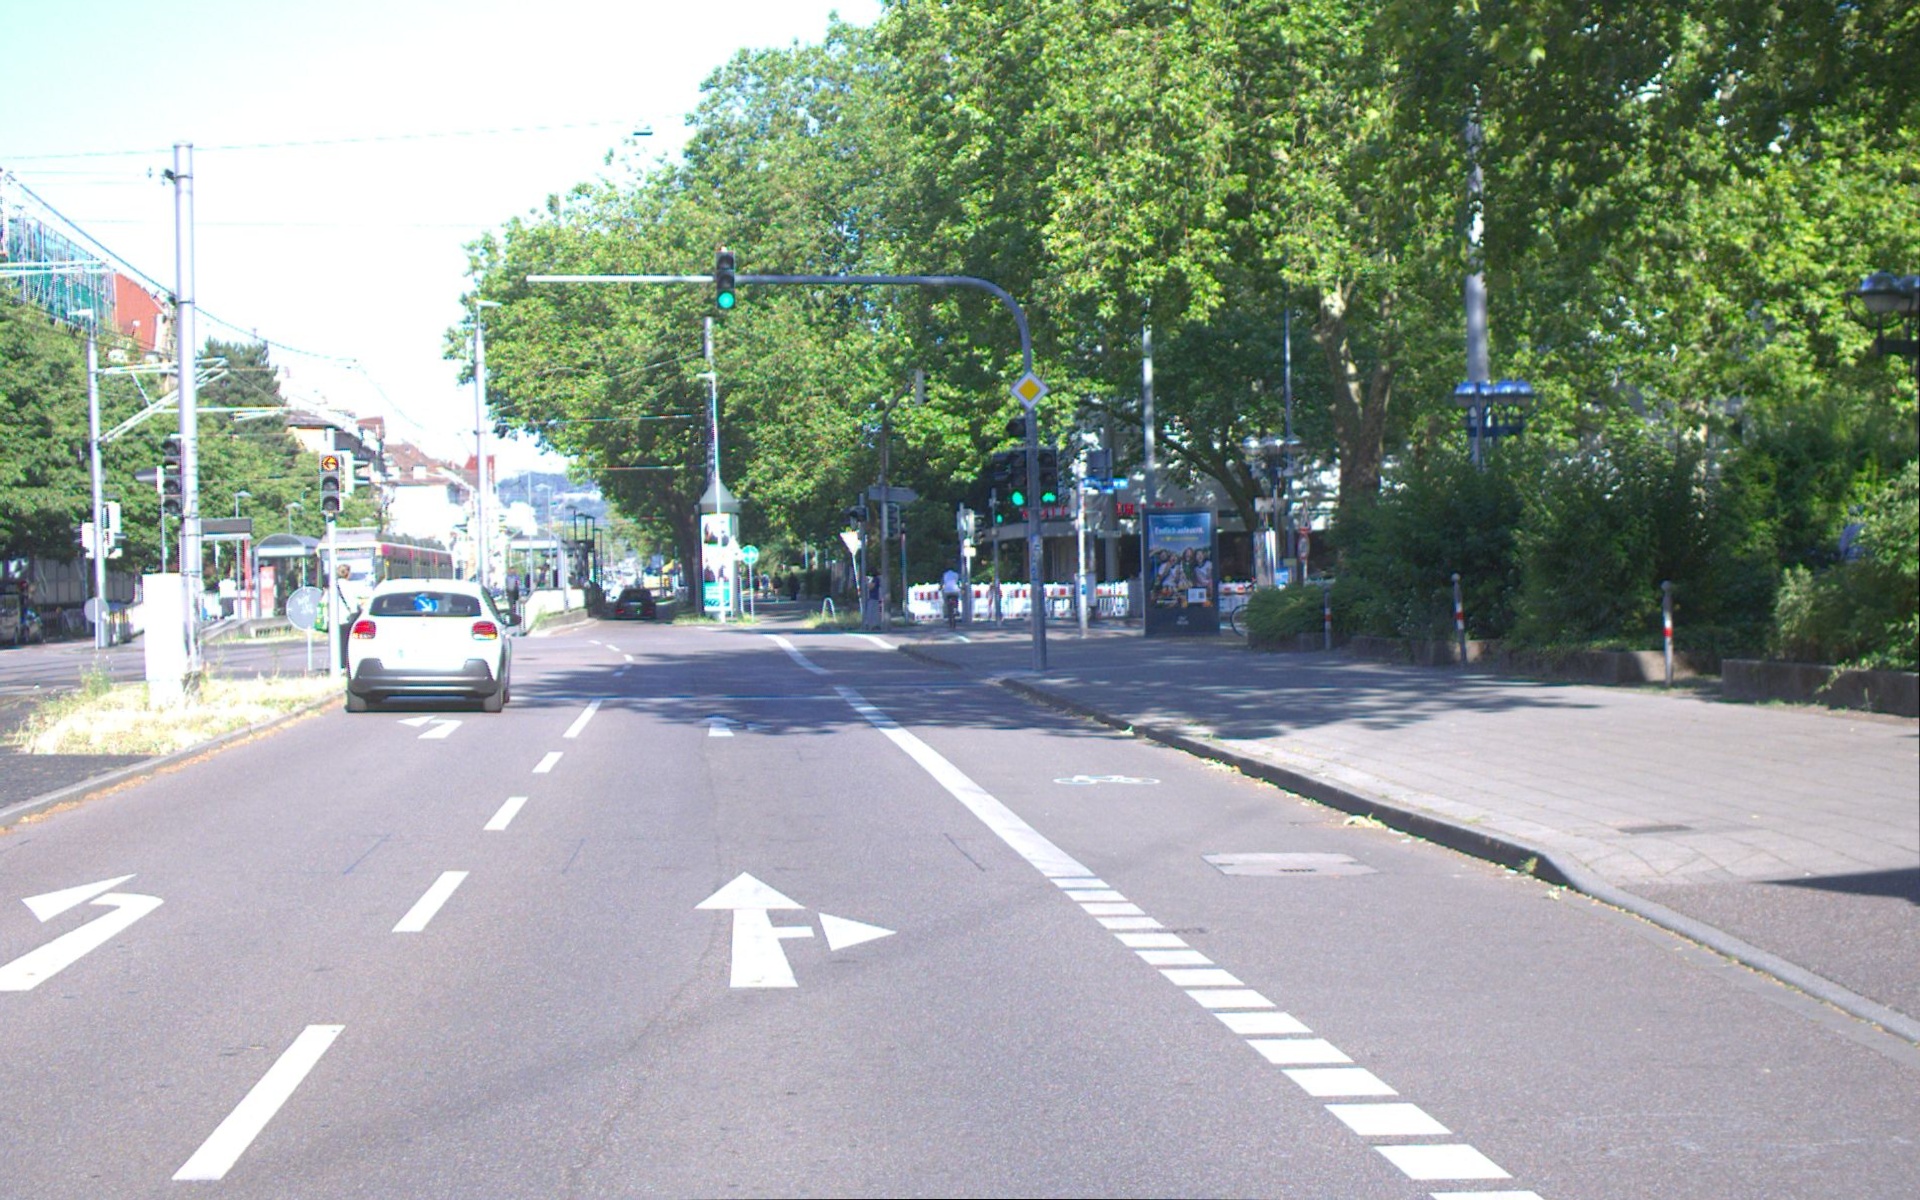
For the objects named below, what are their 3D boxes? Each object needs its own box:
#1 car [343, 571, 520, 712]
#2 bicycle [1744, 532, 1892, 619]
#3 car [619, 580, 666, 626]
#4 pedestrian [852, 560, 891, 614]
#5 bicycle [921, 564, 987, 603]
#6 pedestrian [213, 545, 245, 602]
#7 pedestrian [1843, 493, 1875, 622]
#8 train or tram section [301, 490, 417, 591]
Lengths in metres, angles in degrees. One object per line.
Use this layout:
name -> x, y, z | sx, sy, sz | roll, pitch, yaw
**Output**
car -> -5.938, 0.434, 38.931 | 1.745, 1.457, 3.645 | 1, 1, -5
bicycle -> 12.564, -0.351, 50.311 | 2.319, 1.236, 0.455 | 1, 1, -25
car -> -14.419, 0.134, 156.151 | 1.993, 2.007, 4.001 | 1, 1, -4
pedestrian -> -2.275, -0.337, 88.479 | 0.660, 1.383, 0.831 | 1, 1, 28
bicycle -> -0.160, -0.418, 86.787 | 1.198, 0.931, 2.575 | 1, 1, -10
pedestrian -> -23.859, -0.861, 112.165 | 0.962, 1.827, 0.990 | 1, 1, -10
pedestrian -> 13.023, -0.620, 49.815 | 0.392, 1.859, 0.339 | 1, 1, 10
train or tram section -> -21.288, -2.088, 122.290 | 2.952, 3.398, 10.792 | 1, 1, -4
